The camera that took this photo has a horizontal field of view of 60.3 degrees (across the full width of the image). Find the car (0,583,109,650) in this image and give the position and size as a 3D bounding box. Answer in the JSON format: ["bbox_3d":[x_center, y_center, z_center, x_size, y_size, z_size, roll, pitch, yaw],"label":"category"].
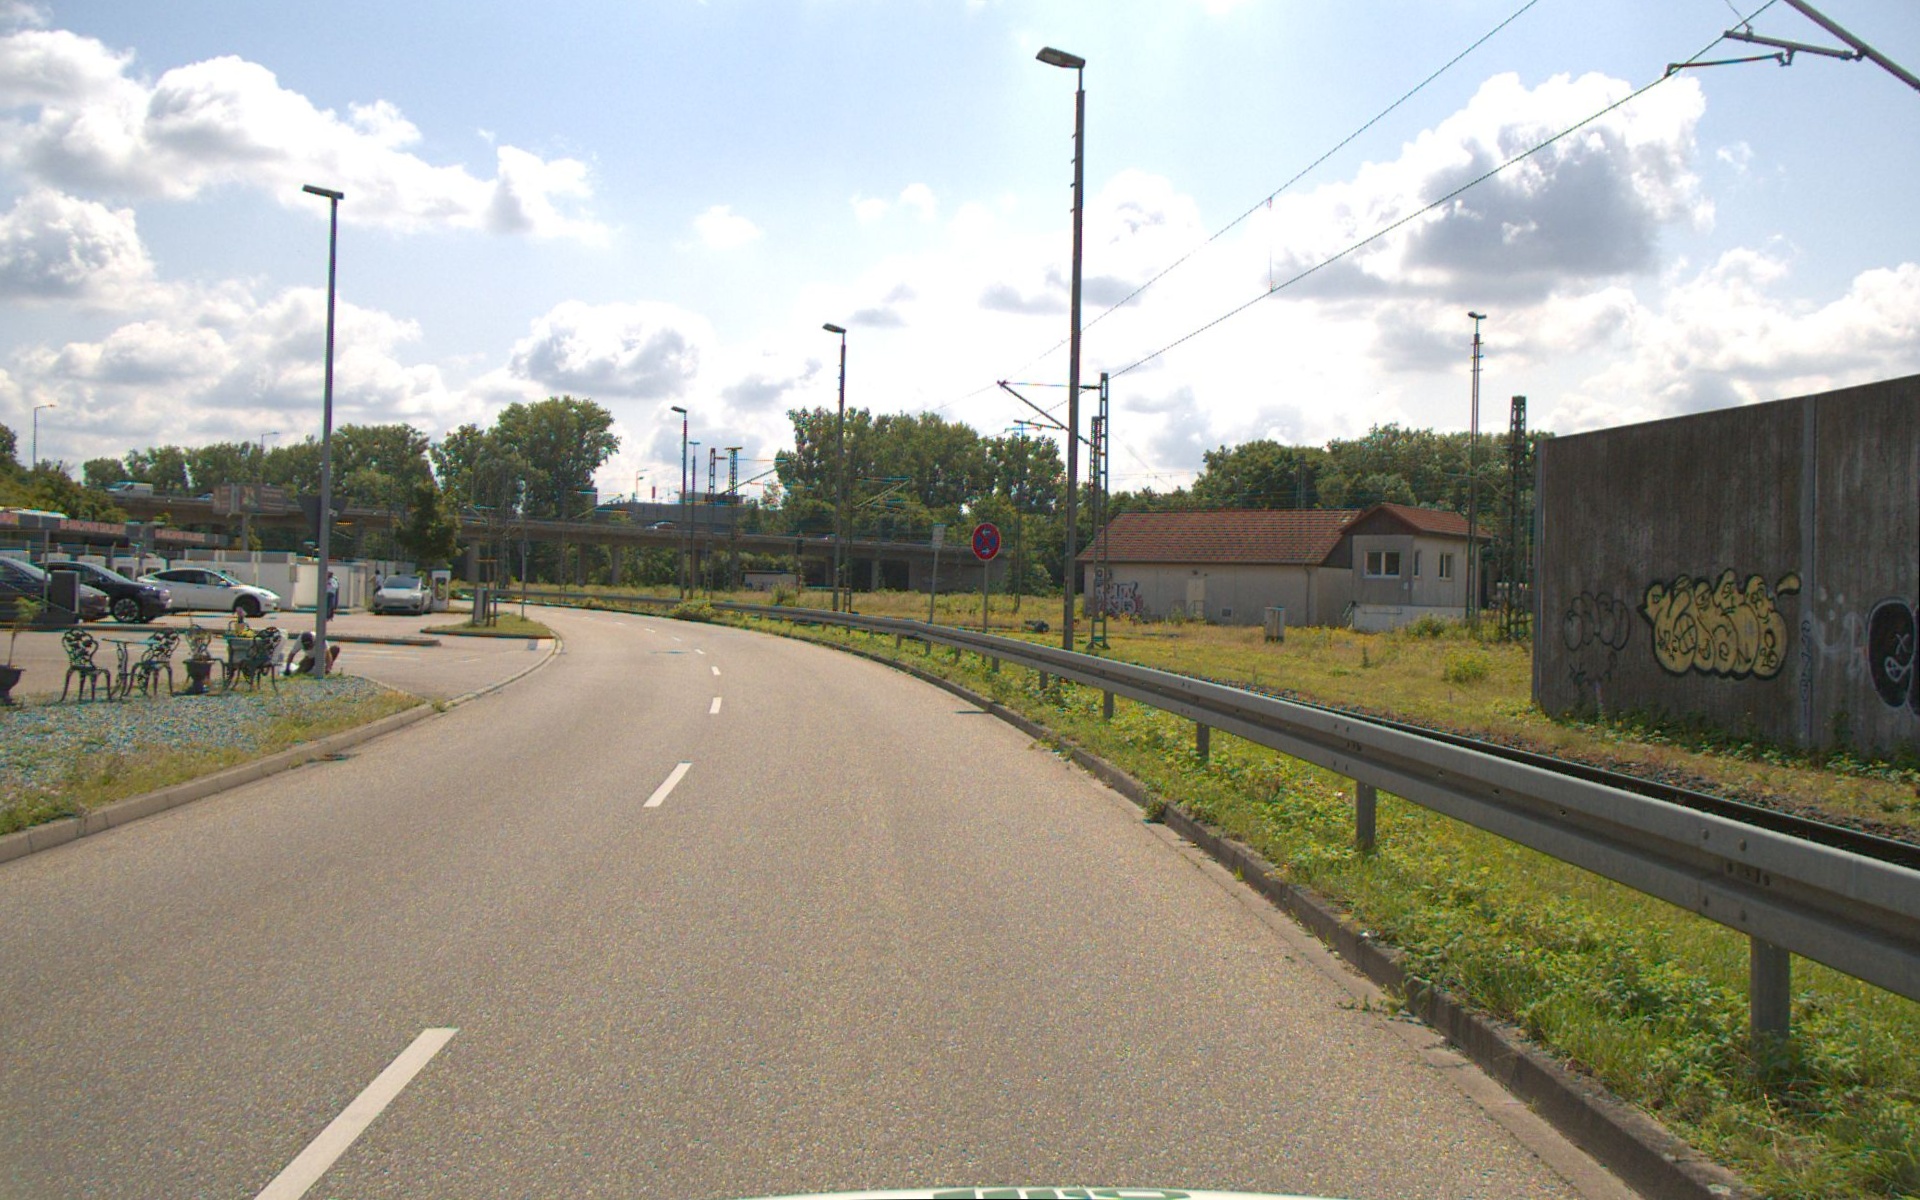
[{"bbox_3d":[-23.104,0.348,39.310,4.665,1.481,2.230,2,0,-14],"label":"car"}]

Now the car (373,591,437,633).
[{"bbox_3d":[-23.576,0.494,70.430,1.896,1.544,4.763,2,2,-11],"label":"car"}]

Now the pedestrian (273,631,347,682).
[{"bbox_3d":[-10.212,0.880,26.013,0.845,0.773,0.817,1,-1,-3],"label":"pedestrian"}]

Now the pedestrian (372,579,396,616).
[{"bbox_3d":[-25.470,-0.098,73.141,0.697,1.607,0.721,0,0,26],"label":"pedestrian"}]

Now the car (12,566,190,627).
[{"bbox_3d":[-23.673,-0.077,45.726,3.917,1.546,1.994,2,0,-13],"label":"car"}]

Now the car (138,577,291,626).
[{"bbox_3d":[-25.691,0.063,57.163,4.474,1.551,1.993,2,0,-14],"label":"car"}]

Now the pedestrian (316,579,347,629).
[{"bbox_3d":[-21.390,0.143,56.281,0.847,1.682,0.937,1,0,-14],"label":"pedestrian"}]

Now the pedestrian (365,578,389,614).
[{"bbox_3d":[-25.984,-0.158,73.684,0.743,1.593,0.711,0,0,34],"label":"pedestrian"}]
